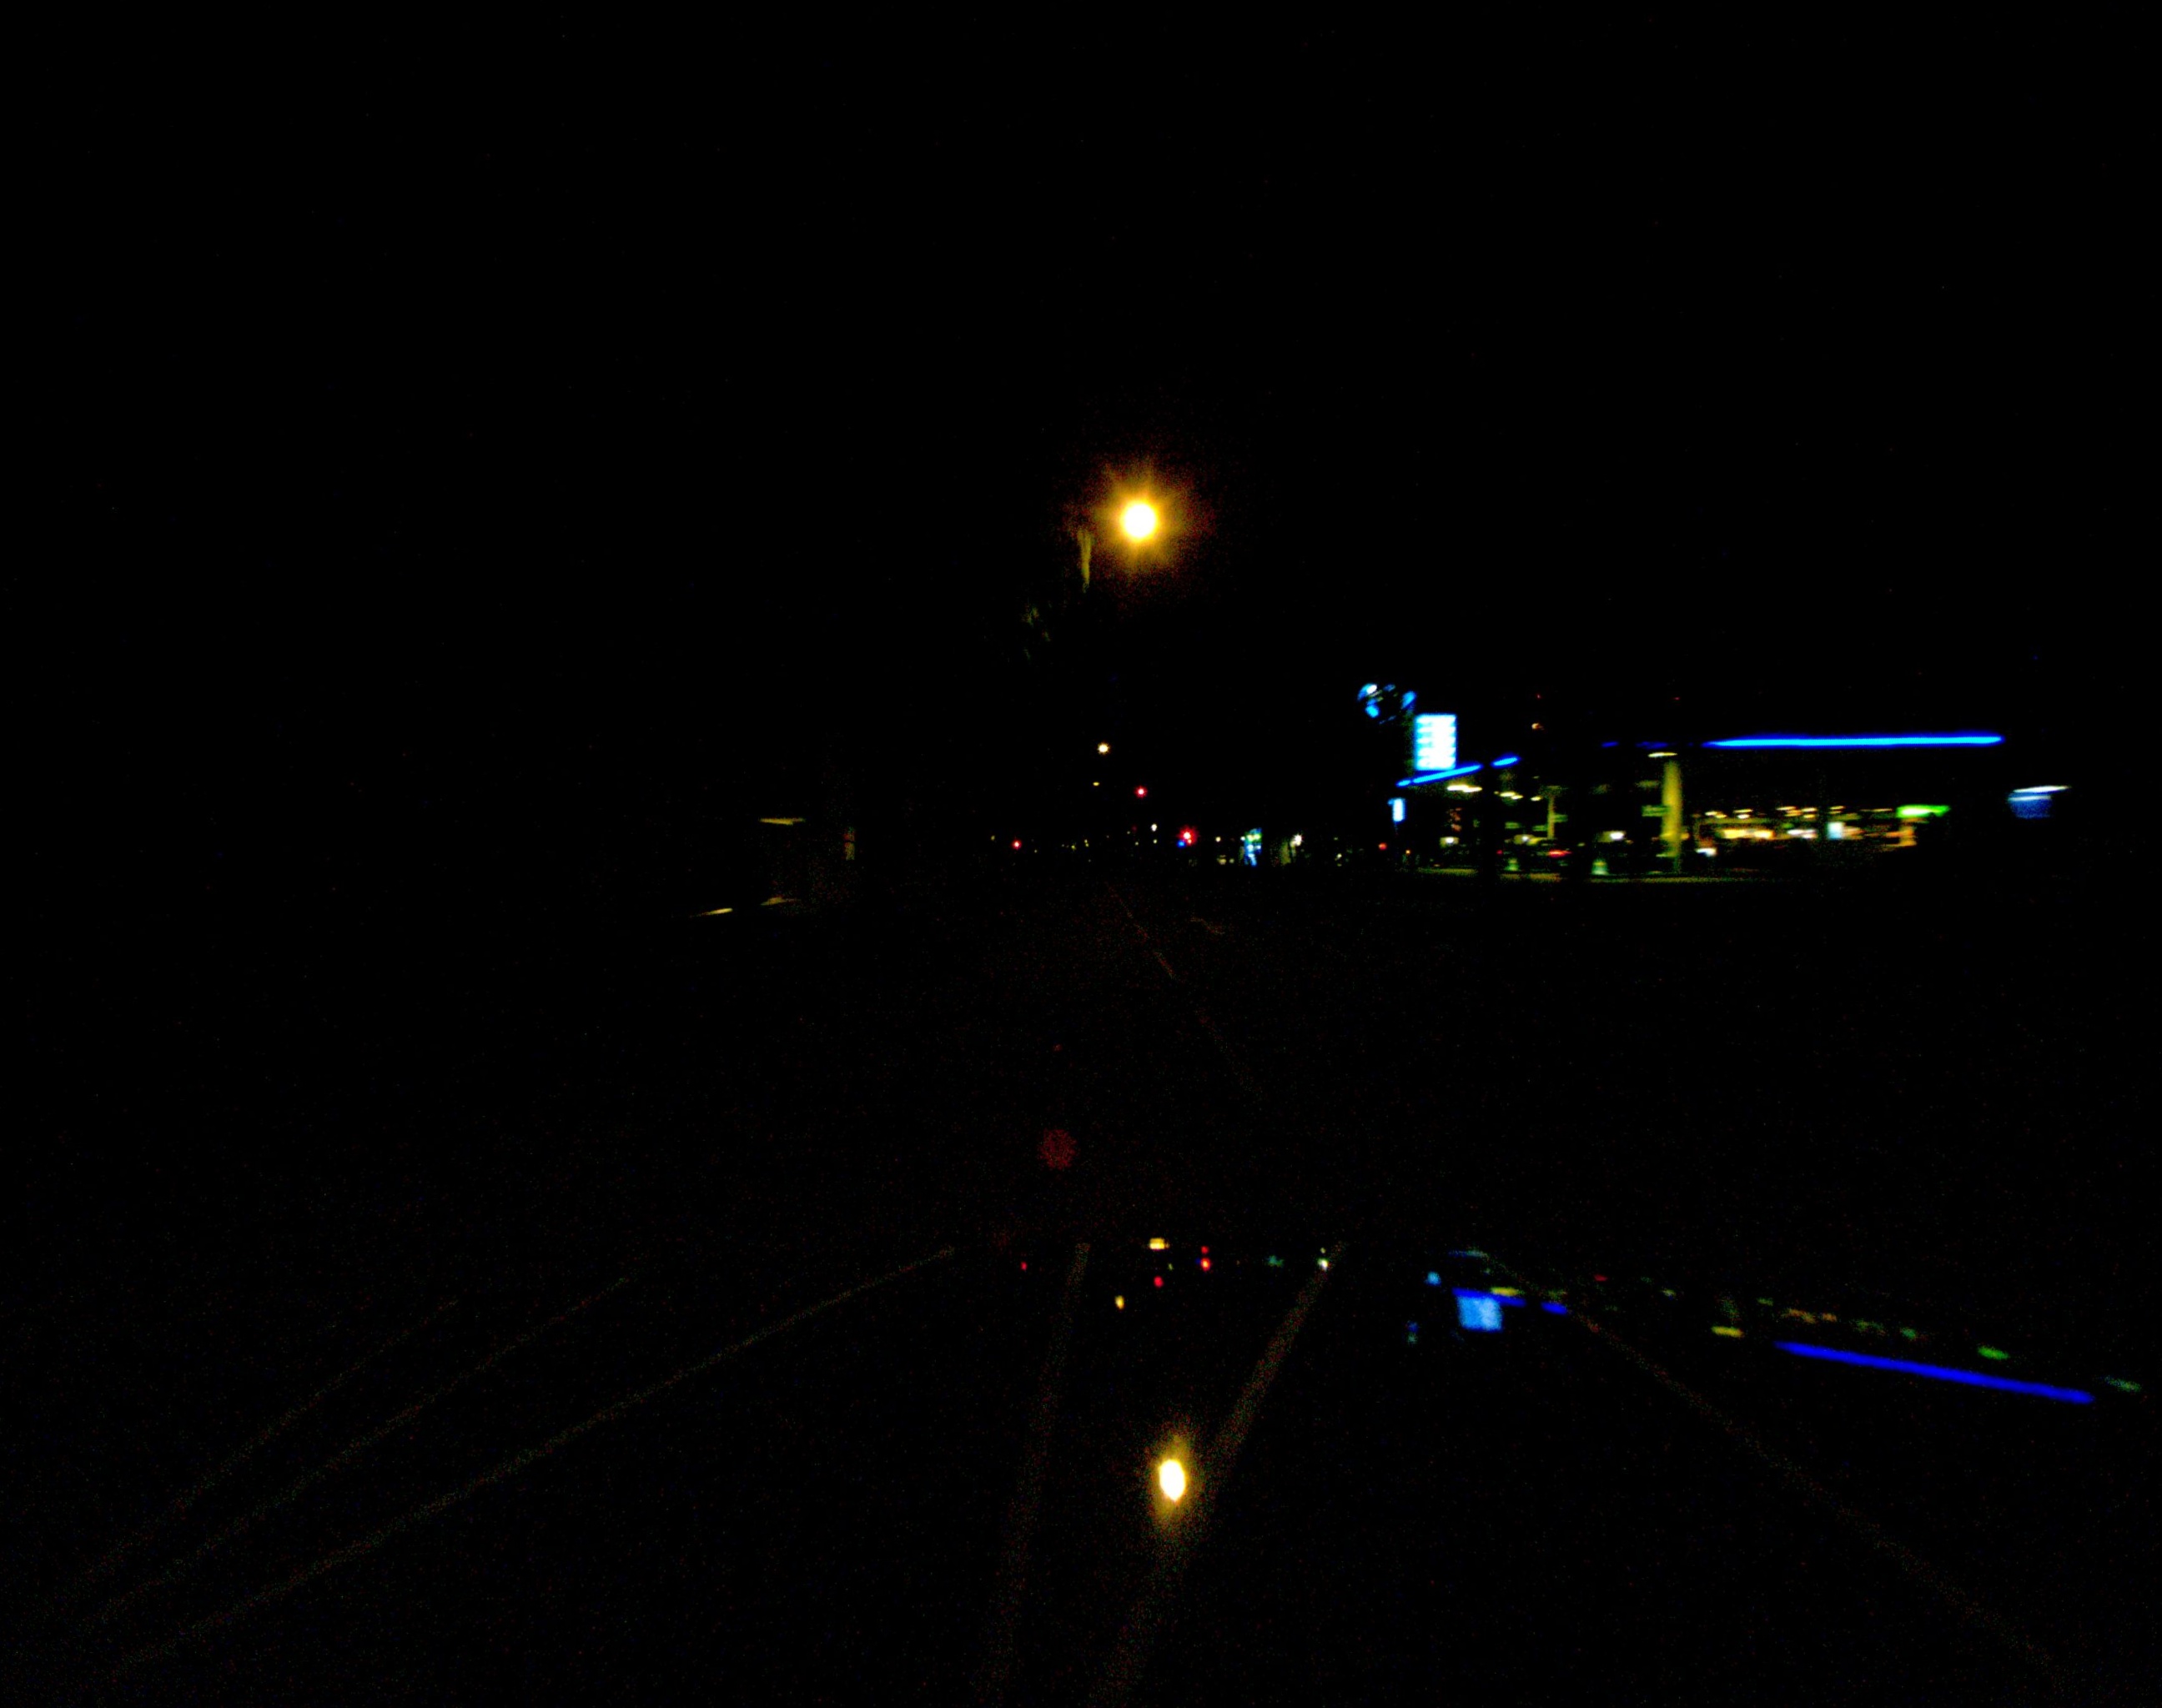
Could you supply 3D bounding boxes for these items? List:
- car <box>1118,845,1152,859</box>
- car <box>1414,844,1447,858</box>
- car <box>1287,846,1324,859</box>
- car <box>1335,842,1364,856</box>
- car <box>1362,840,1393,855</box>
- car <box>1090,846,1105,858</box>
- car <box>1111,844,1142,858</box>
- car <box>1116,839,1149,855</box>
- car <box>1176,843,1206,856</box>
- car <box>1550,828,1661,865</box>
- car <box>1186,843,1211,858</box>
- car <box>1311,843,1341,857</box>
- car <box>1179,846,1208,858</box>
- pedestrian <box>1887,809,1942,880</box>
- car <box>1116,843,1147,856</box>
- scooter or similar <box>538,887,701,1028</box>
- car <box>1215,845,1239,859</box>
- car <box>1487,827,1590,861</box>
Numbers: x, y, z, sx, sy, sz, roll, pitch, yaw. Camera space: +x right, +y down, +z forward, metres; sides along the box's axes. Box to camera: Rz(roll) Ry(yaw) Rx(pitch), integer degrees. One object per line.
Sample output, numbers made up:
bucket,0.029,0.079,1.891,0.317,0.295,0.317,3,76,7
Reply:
car,6.212,-0.269,88.217,3.763,1.577,1.633,0,1,-3
car,38.322,-0.325,83.431,1.765,1.469,3.957,-2,1,0
car,27.338,-0.156,92.692,4.280,1.469,1.730,-2,1,-27
car,29.491,-0.537,83.454,1.732,1.469,4.086,-1,1,0
car,32.576,-0.713,83.606,1.864,1.469,4.086,-2,1,0
car,2.242,-0.303,102.524,1.936,1.646,3.832,-1,1,0
car,5.848,-0.410,97.187,3.848,1.781,1.633,0,1,-3
car,6.391,-0.883,94.552,4.055,1.880,1.633,0,1,-3
car,13.735,-0.580,94.815,3.575,1.690,1.634,0,1,0
car,23.102,-0.329,33.556,3.759,1.524,1.670,-1,1,0
car,12.908,-0.413,83.979,1.999,1.549,4.386,-2,1,-1
car,26.879,-0.490,83.539,1.864,1.469,4.353,-2,1,0
car,14.572,-0.261,98.466,3.576,1.577,1.634,0,1,-1
pedestrian,19.358,-0.217,17.664,0.577,1.597,0.643,-2,1,-1
car,6.221,-0.551,93.372,3.576,1.619,1.620,0,1,-3
scooter or similar,-4.788,1.010,8.052,0.548,1.196,1.910,1,1,1
car,16.064,-0.238,83.881,1.864,1.452,4.069,-1,0,0
car,24.459,-0.526,40.738,4.357,1.717,1.978,-1,0,0
